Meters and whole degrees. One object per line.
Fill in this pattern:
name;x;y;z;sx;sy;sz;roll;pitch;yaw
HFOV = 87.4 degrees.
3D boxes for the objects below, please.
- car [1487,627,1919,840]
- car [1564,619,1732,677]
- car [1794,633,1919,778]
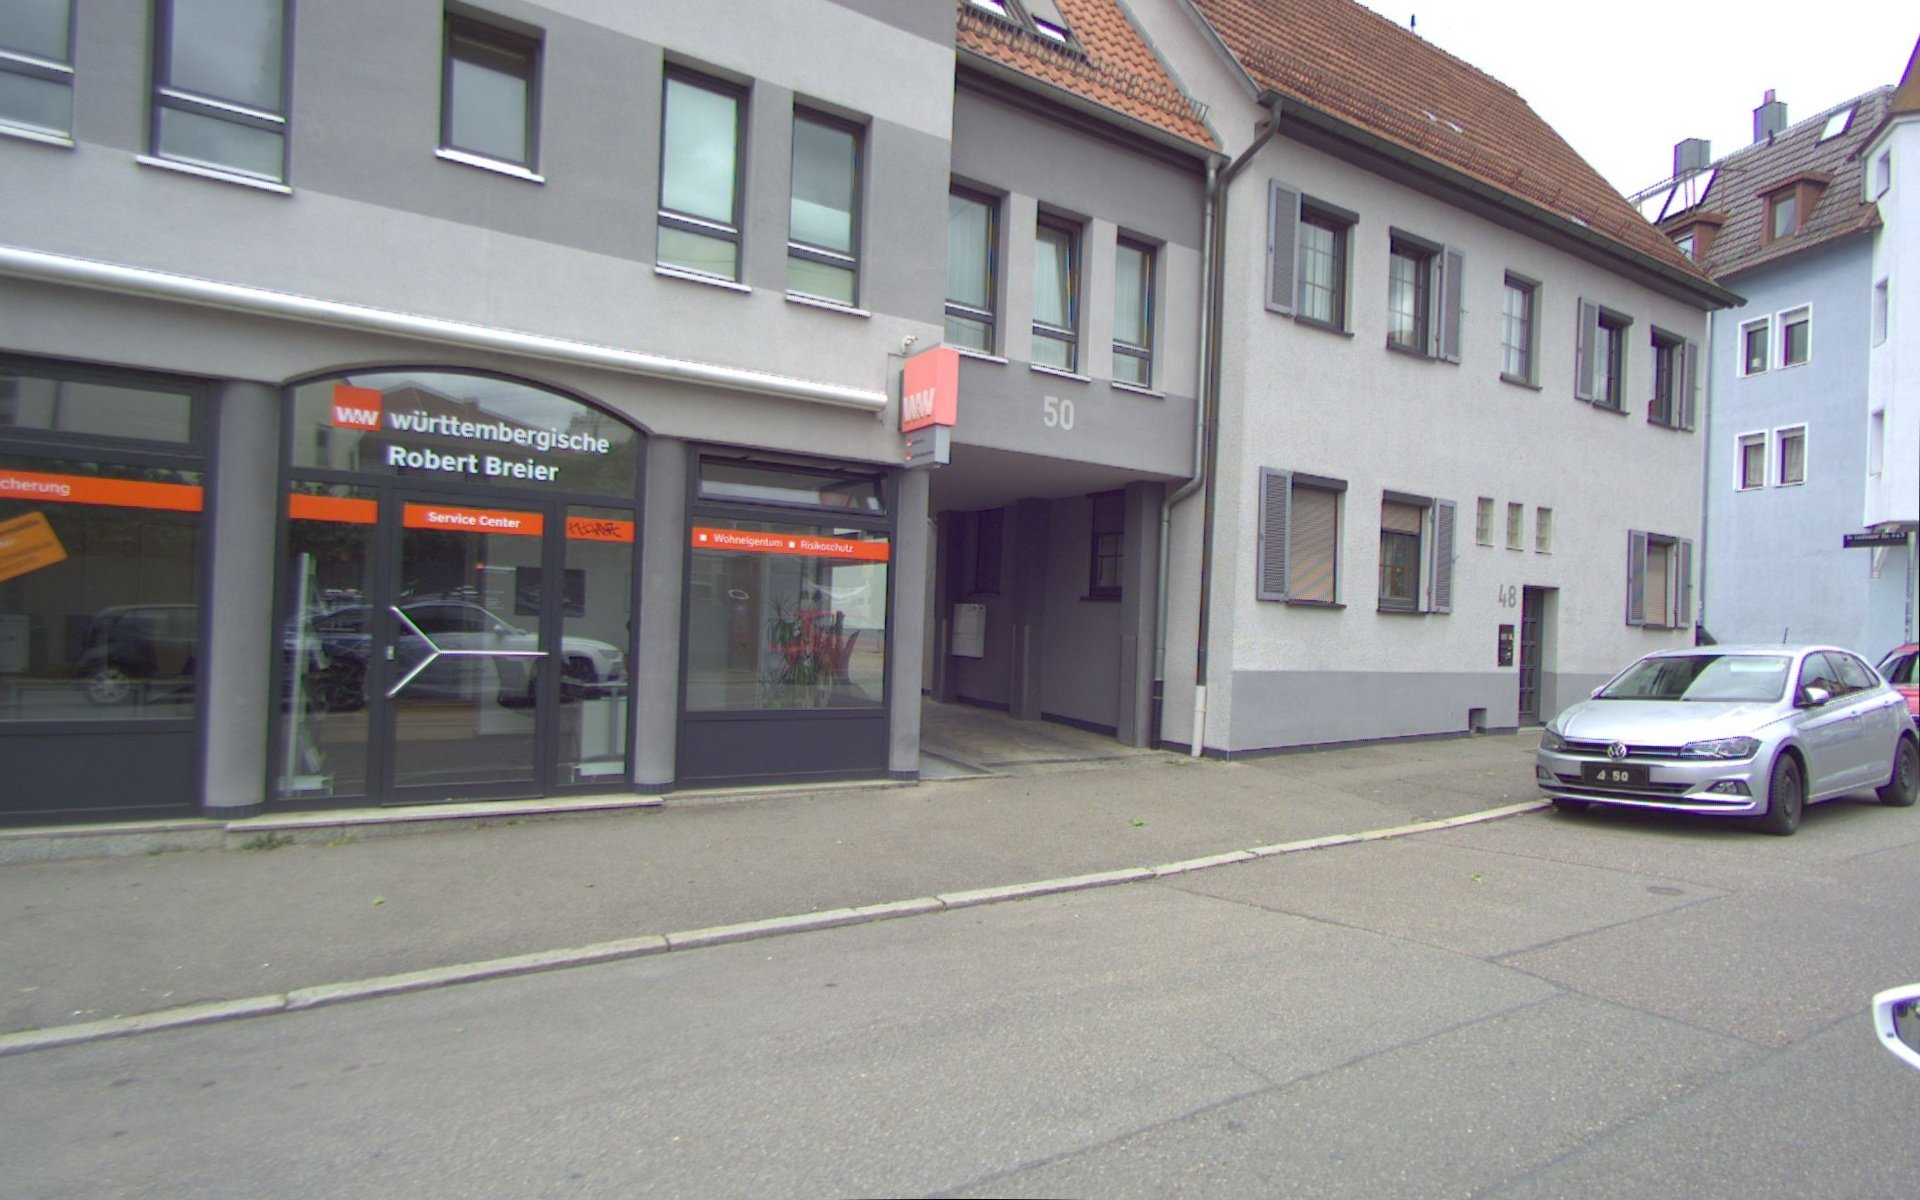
car;6.738;1.039;8.944;4.004;1.498;1.791;1;-4;-31
car;19.806;1.323;29.141;1.787;1.412;3.888;0;1;-11
car;11.561;1.143;11.554;4.004;1.498;1.791;1;-4;-31
